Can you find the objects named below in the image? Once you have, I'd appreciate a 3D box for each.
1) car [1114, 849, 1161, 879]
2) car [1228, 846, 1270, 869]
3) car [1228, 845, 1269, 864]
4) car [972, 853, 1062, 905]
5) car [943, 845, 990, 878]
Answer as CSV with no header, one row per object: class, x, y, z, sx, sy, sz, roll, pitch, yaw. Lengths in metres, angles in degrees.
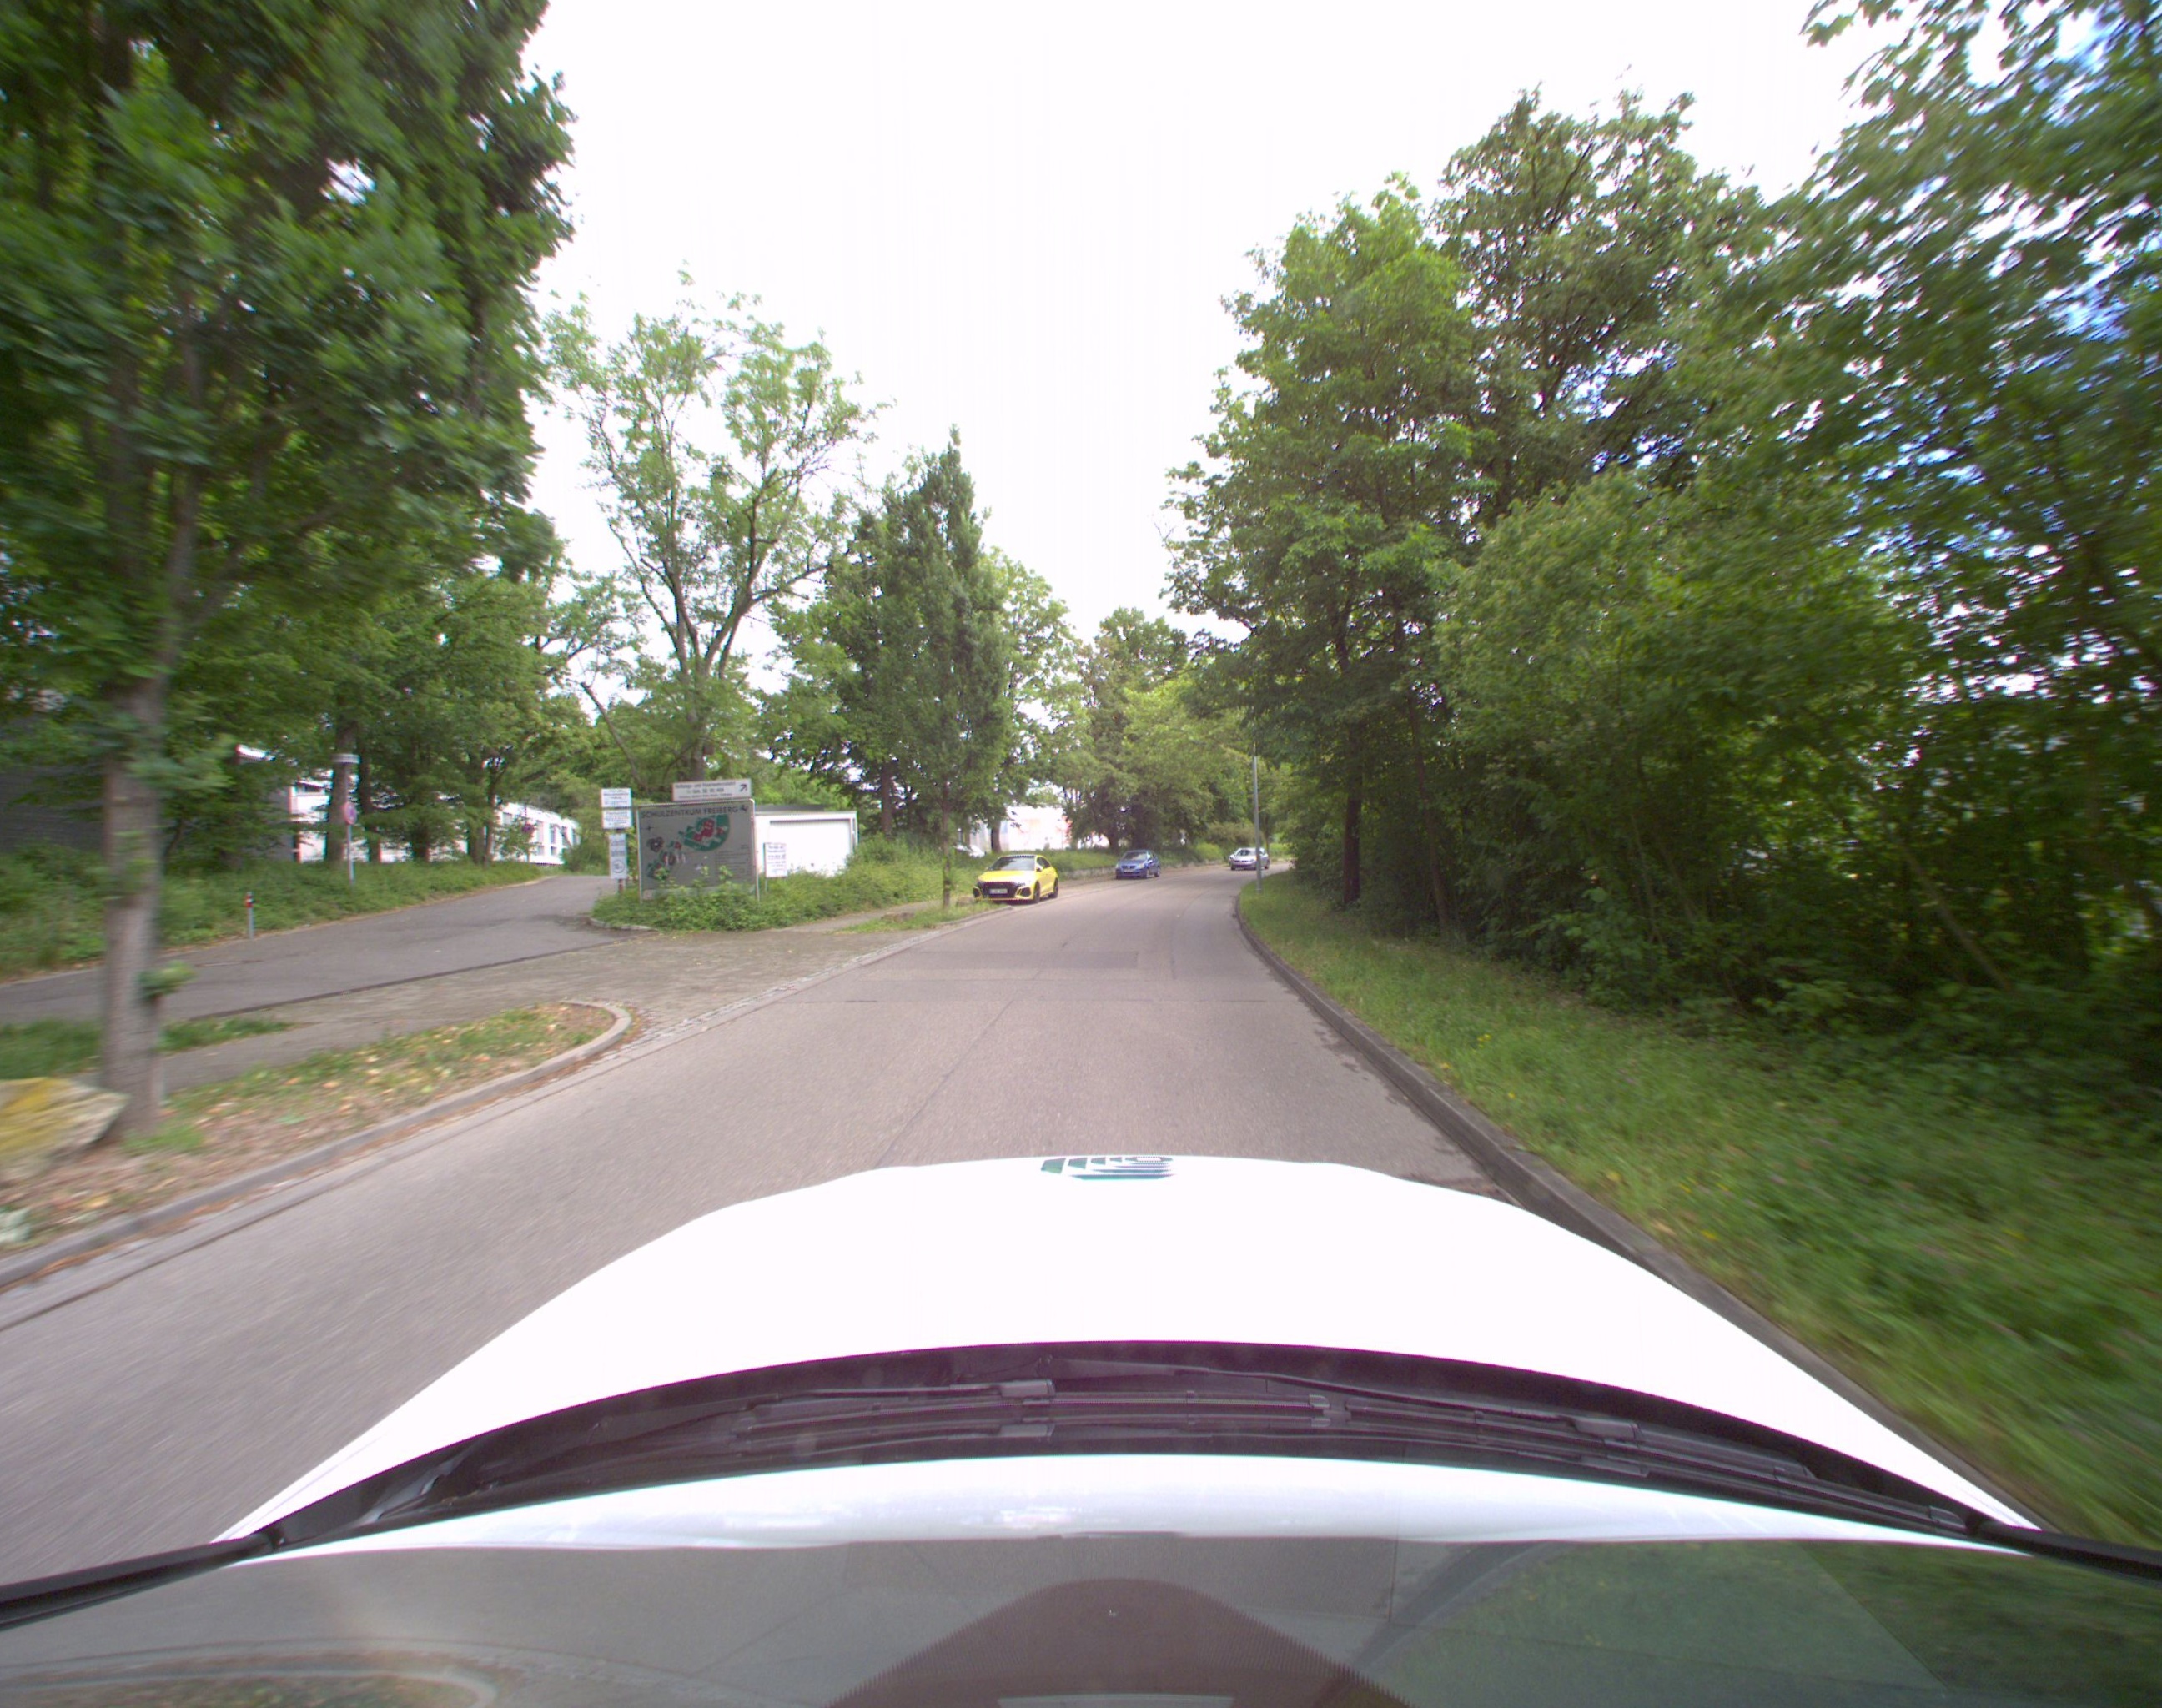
car,2.985,0.484,42.342,1.521,1.459,3.737,-2,0,18
car,11.366,0.229,54.862,1.660,1.462,4.086,0,1,28
car,13.018,0.037,63.110,1.797,1.424,4.387,-1,0,29
car,-1.862,0.703,24.945,1.690,1.403,4.285,-1,0,10
car,-6.334,0.396,44.753,1.747,1.622,3.846,-3,0,-21
